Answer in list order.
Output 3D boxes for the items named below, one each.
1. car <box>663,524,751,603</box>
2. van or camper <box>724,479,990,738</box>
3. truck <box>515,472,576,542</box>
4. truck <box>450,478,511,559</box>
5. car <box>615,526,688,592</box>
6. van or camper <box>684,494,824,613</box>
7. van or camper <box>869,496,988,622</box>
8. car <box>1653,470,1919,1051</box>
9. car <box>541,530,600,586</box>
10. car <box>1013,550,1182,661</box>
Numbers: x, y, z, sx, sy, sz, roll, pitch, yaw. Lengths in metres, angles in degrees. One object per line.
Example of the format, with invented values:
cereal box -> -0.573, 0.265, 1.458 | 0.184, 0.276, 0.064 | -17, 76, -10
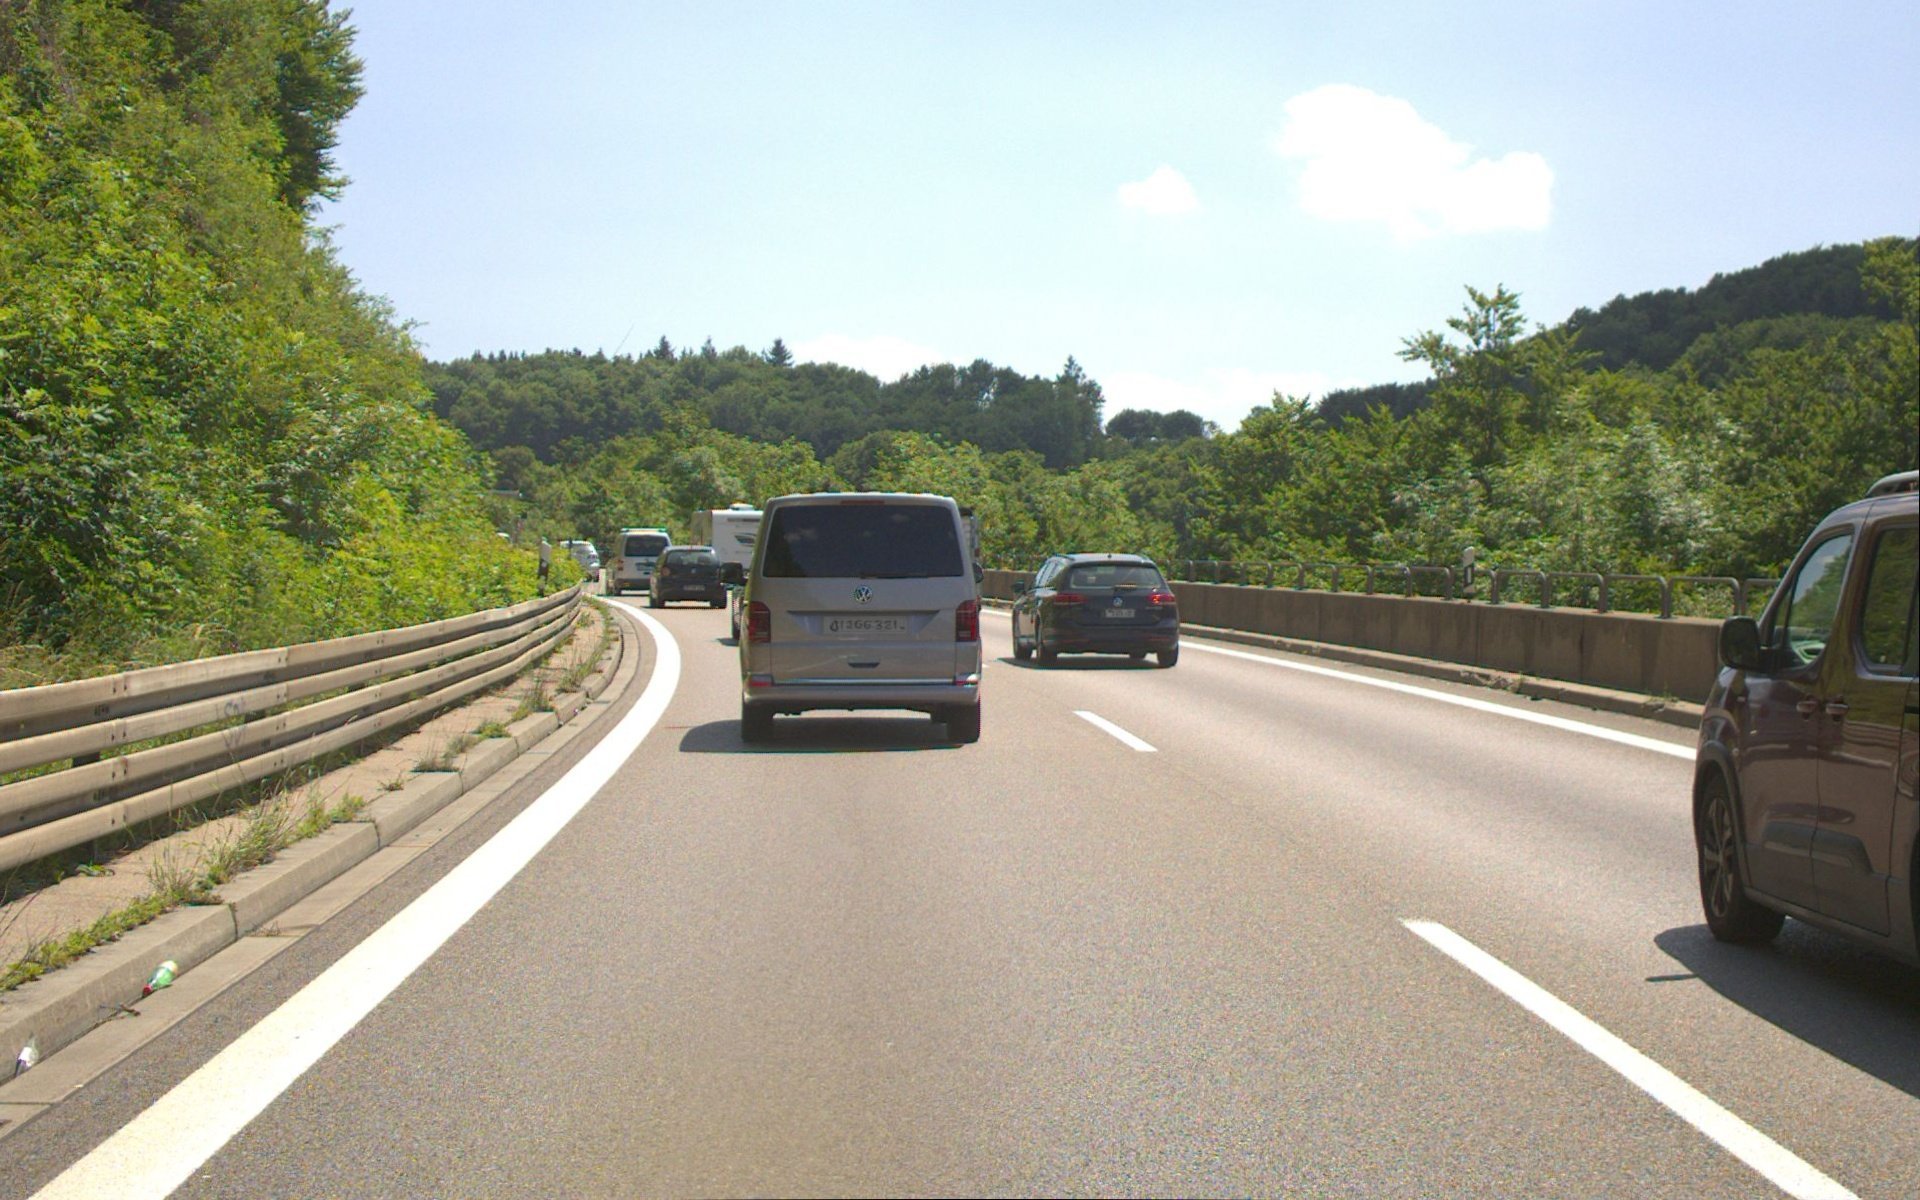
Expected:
car -> -5.943, -0.871, 80.533 | 1.993, 1.811, 4.001 | 0, 1, -5
van or camper -> -0.918, 0.035, 28.032 | 1.875, 1.943, 4.295 | 0, 1, -6
truck -> -26.837, -5.964, 222.096 | 3.291, 4.317, 7.731 | 0, 0, -11
truck -> -27.662, -4.665, 198.102 | 3.291, 4.504, 7.731 | 0, 0, -9
car -> -8.696, -1.158, 96.947 | 1.993, 1.811, 4.001 | 0, 1, -5
van or camper -> -6.834, -1.536, 112.875 | 3.275, 3.776, 8.114 | 0, 1, -13
van or camper -> -0.699, -0.857, 72.081 | 2.263, 2.542, 4.737 | -1, 1, -3
car -> 3.836, 0.488, 11.911 | 1.833, 1.778, 4.676 | 0, 0, -1
car -> -13.758, -1.499, 121.396 | 1.993, 1.908, 4.001 | 1, 1, -7
car -> 1.753, 0.041, 44.922 | 1.768, 1.371, 3.593 | 0, 1, -5
